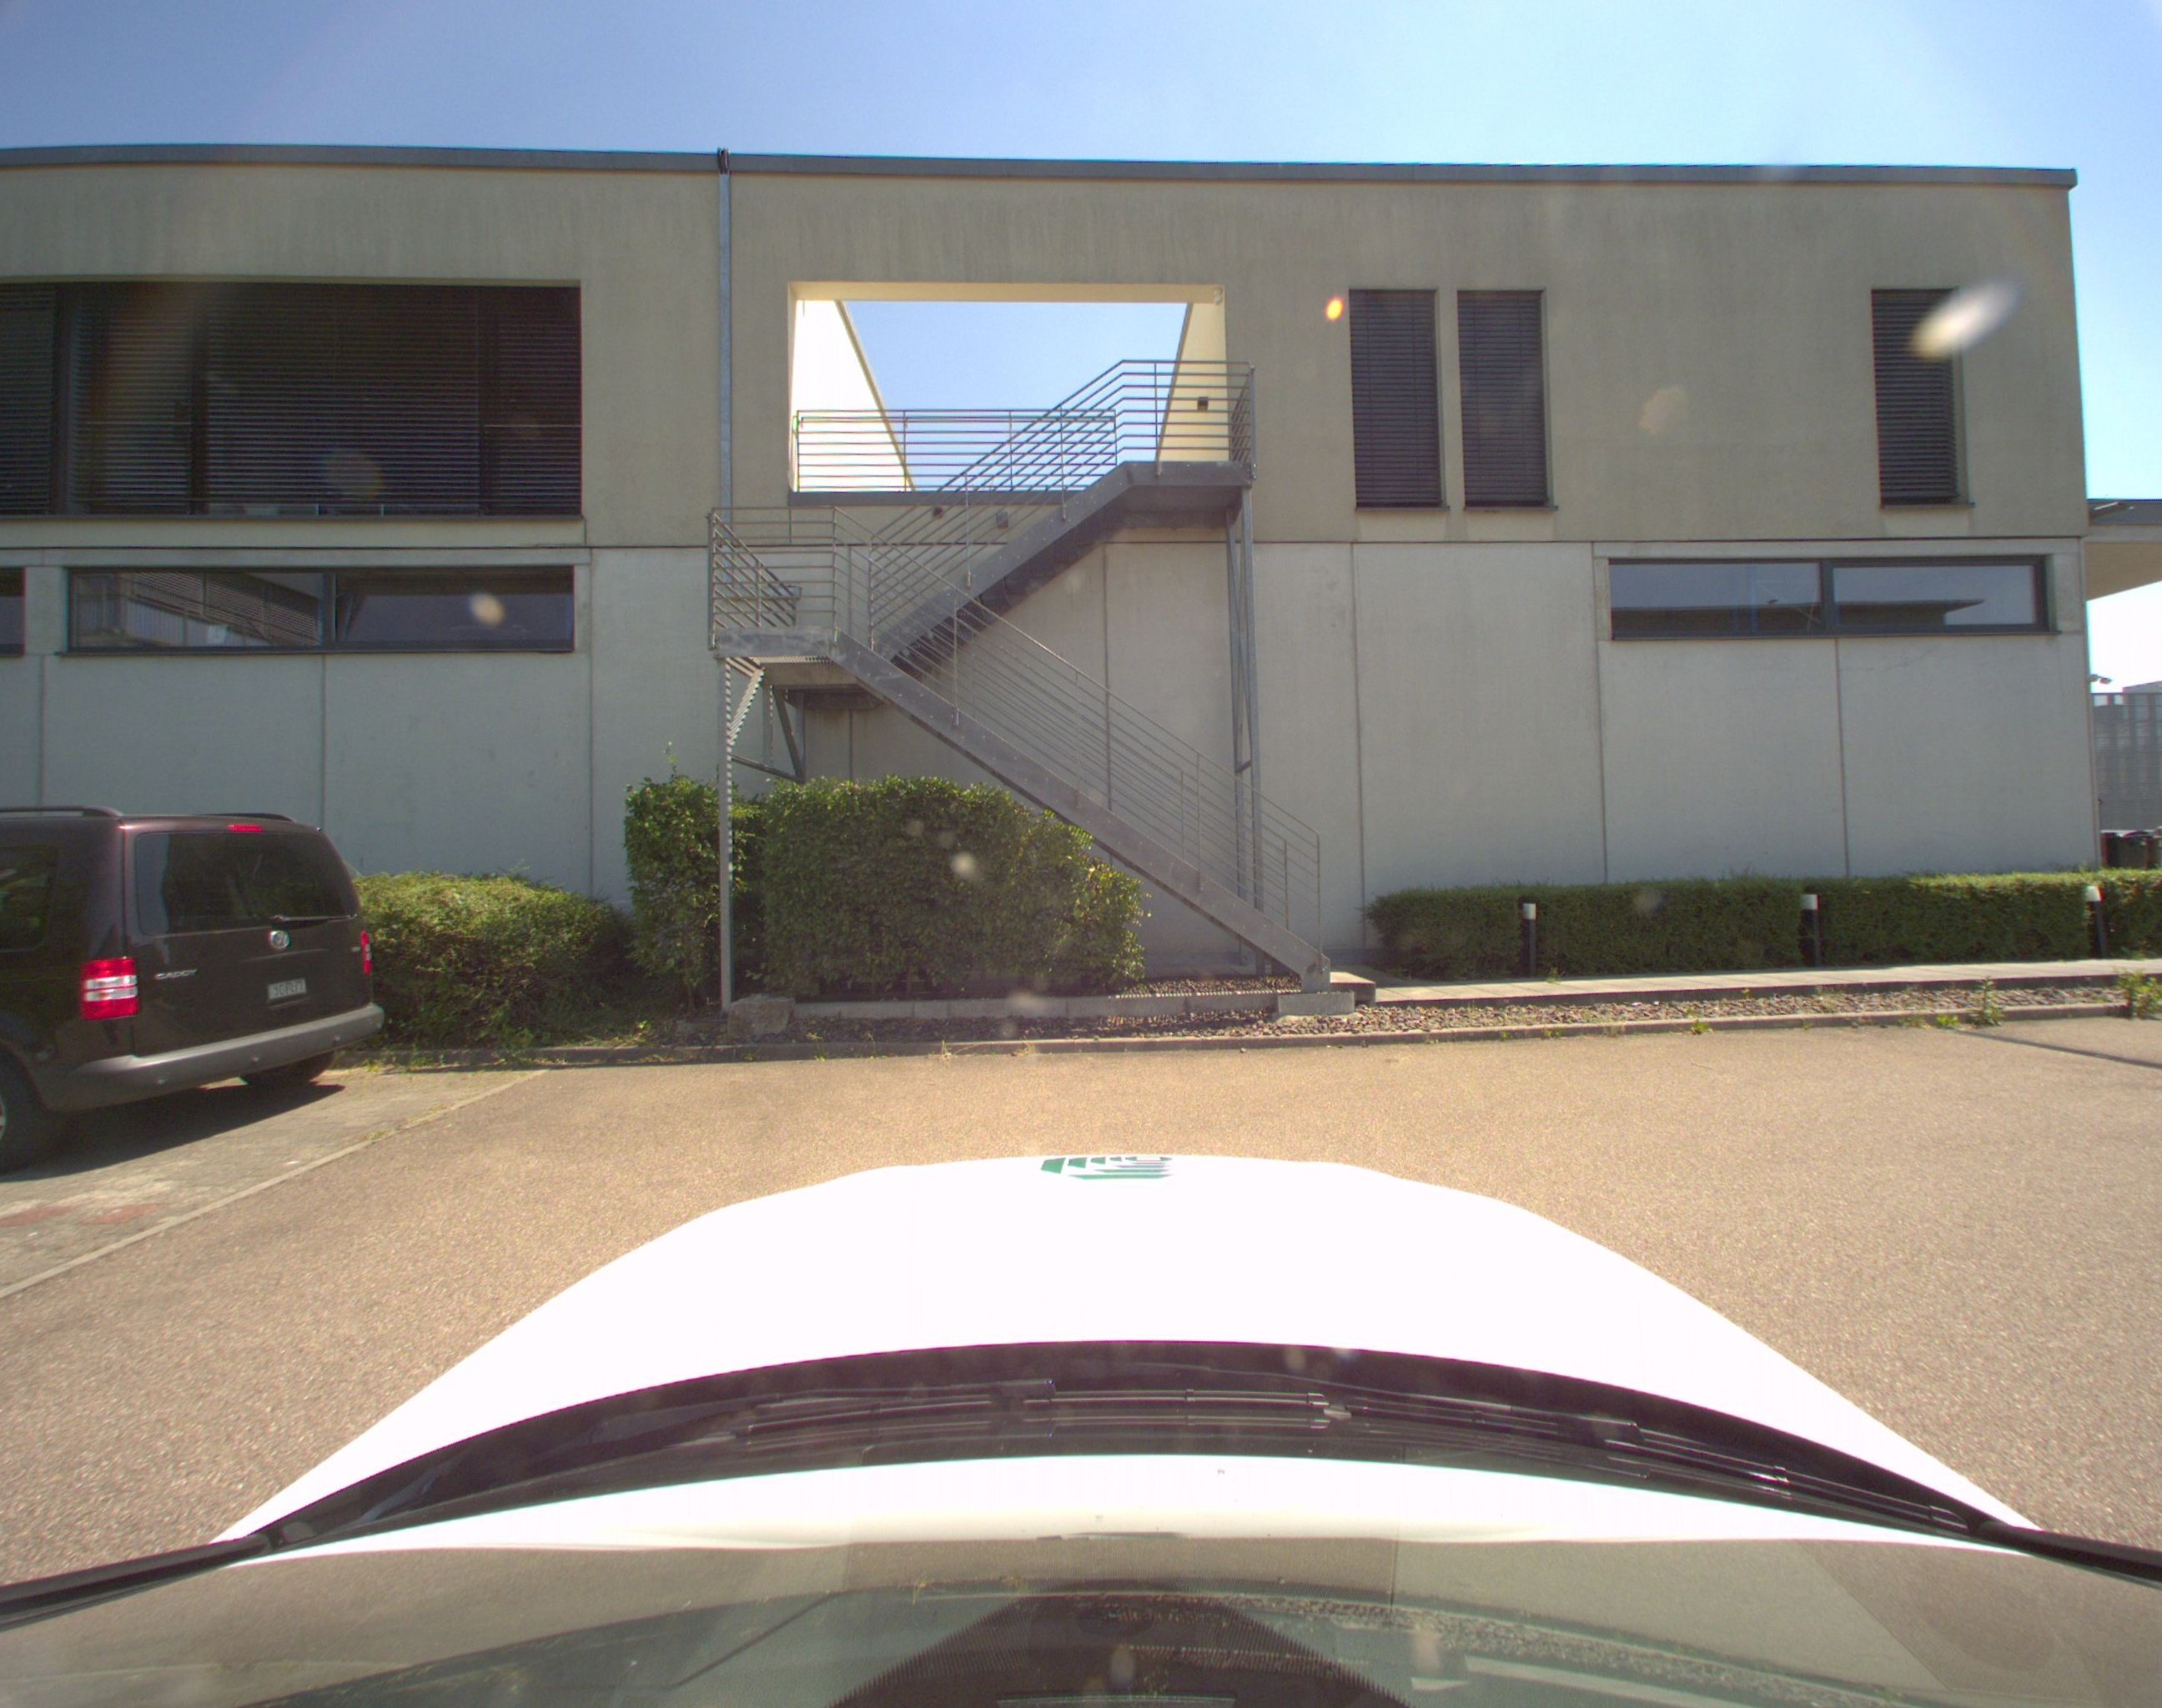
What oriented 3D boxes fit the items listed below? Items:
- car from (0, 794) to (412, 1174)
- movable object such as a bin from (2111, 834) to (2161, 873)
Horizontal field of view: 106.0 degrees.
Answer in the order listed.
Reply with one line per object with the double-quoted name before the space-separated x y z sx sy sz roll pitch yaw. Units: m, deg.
"car" -6.759 0.682 4.875 4.046 1.884 1.678 -1 0 -1
"movable object such as a bin" 27.221 -0.020 20.794 0.805 0.980 0.817 -1 0 -2
